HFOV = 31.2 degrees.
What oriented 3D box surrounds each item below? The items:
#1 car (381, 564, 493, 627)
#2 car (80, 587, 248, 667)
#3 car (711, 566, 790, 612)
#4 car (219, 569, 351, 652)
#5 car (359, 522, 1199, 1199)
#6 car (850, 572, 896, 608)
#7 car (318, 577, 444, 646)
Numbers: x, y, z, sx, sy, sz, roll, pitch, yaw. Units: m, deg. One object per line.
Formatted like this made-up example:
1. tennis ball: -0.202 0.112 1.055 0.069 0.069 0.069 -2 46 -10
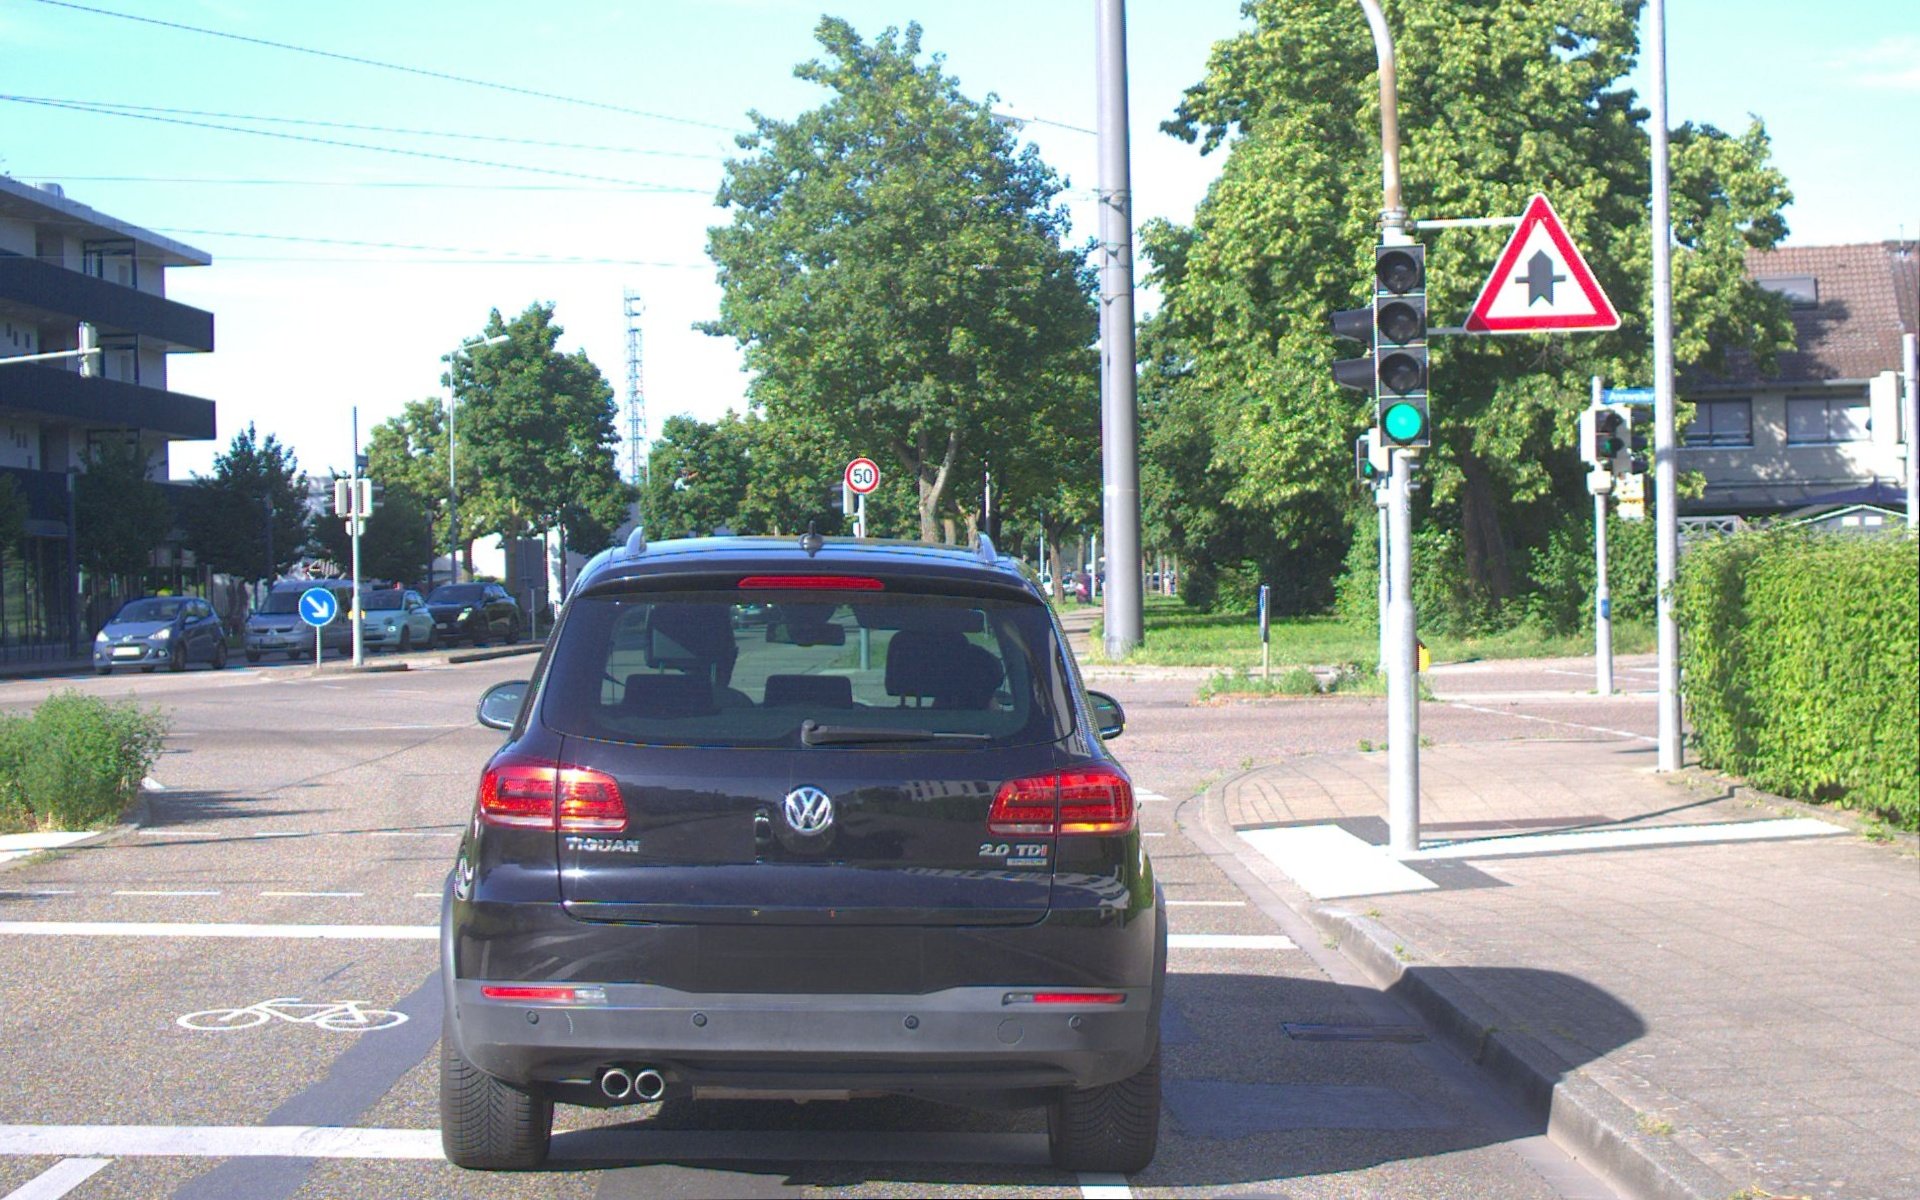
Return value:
1. car: -13.343 -0.129 87.933 1.967 1.529 4.740 -1 0 2
2. car: -15.500 0.501 67.152 1.696 1.451 4.451 -1 0 8
3. car: -7.448 -0.410 122.493 1.994 1.566 3.999 -1 0 8
4. car: -14.928 0.204 76.285 1.993 1.749 4.362 -1 0 1
5. car: -0.482 0.645 10.272 1.929 1.649 4.514 1 0 -2
6. car: -4.377 -0.530 173.513 1.993 1.731 5.199 -1 1 2
7. car: -13.830 0.266 82.310 1.994 1.482 3.543 -3 0 6
